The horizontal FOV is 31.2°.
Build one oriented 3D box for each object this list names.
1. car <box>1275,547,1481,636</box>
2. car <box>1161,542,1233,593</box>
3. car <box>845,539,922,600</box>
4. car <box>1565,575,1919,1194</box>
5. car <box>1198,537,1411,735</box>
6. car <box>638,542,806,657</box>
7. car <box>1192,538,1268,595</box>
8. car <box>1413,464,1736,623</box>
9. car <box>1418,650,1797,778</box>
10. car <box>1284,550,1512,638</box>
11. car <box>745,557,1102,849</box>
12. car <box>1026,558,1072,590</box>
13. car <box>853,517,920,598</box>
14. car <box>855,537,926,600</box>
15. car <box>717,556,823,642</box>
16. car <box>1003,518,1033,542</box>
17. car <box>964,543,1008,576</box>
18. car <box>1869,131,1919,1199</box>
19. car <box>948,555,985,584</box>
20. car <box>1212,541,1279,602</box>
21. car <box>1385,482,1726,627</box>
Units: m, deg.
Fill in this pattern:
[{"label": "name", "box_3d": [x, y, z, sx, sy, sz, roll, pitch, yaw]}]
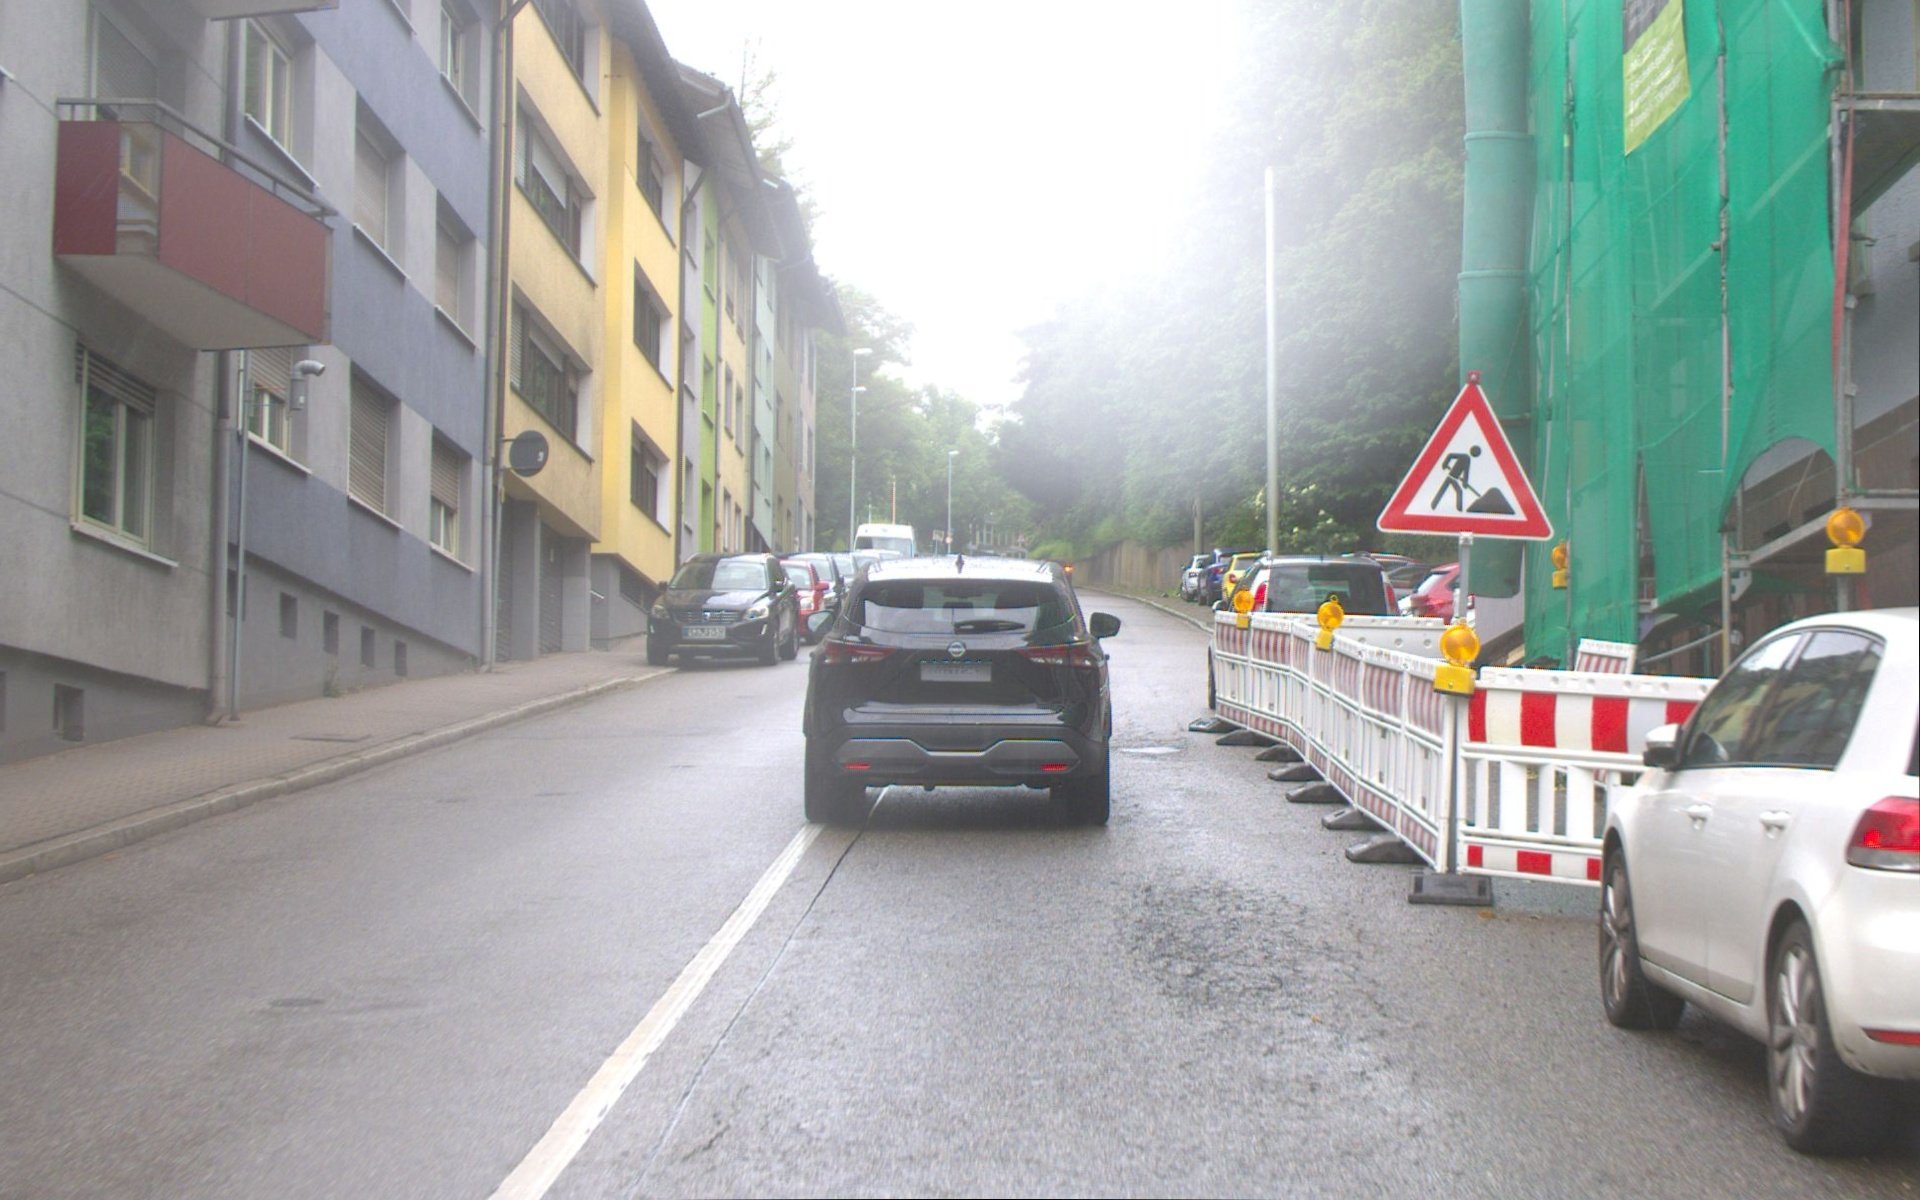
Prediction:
[{"label": "car", "box_3d": [9.223, -0.207, 76.034, 4.197, 1.728, 1.760, 3, 1, -3]}, {"label": "car", "box_3d": [7.472, -1.032, 108.734, 1.811, 1.525, 4.417, -2, 1, -1]}, {"label": "car", "box_3d": [-2.040, -0.843, 92.965, 1.990, 1.579, 4.305, 0, 1, 0]}, {"label": "car", "box_3d": [3.229, 0.711, 10.555, 1.993, 1.507, 4.337, 2, 0, 1]}, {"label": "car", "box_3d": [3.365, 0.299, 34.198, 1.640, 1.756, 4.000, 2, 2, 0]}, {"label": "car", "box_3d": [-3.544, -0.046, 51.906, 1.994, 1.644, 4.441, 0, 1, 3]}, {"label": "car", "box_3d": [7.704, -0.974, 98.308, 1.811, 1.525, 4.417, -2, 1, 0]}, {"label": "car", "box_3d": [8.101, -0.745, 45.565, 3.826, 1.696, 1.729, -6, 1, 0]}, {"label": "car", "box_3d": [7.875, 1.381, 42.066, 4.268, 1.461, 1.894, 0, 1, 0]}, {"label": "car", "box_3d": [8.660, -0.131, 68.178, 4.197, 1.491, 1.760, 3, 1, -1]}, {"label": "car", "box_3d": [-0.178, 0.563, 21.669, 1.993, 1.554, 4.000, 2, 2, 1]}, {"label": "car", "box_3d": [4.546, -1.335, 175.525, 2.074, 1.554, 4.001, 1, 1, -2]}, {"label": "car", "box_3d": [-2.274, -1.356, 107.232, 1.990, 2.466, 5.785, 0, 1, 0]}, {"label": "car", "box_3d": [-1.987, -0.921, 99.309, 1.990, 1.749, 4.480, 0, 1, 0]}, {"label": "car", "box_3d": [-3.417, -0.041, 62.286, 1.728, 1.467, 3.491, 0, 1, 0]}, {"label": "car", "box_3d": [4.234, -5.112, 251.402, 1.994, 1.554, 3.999, -1, -1, 3]}, {"label": "car", "box_3d": [1.268, -2.015, 169.905, 2.074, 1.554, 4.000, 1, 1, 0]}, {"label": "car", "box_3d": [2.876, 0.222, 4.242, 1.993, 2.406, 5.836, 2, -1, 1]}, {"label": "car", "box_3d": [0.357, -1.756, 197.128, 2.074, 1.554, 4.000, 1, 1, 0]}, {"label": "car", "box_3d": [7.534, -0.779, 91.060, 1.633, 1.525, 4.000, 2, 1, 3]}, {"label": "car", "box_3d": [8.339, -0.646, 48.393, 4.341, 1.524, 1.877, -7, 1, 0]}]
